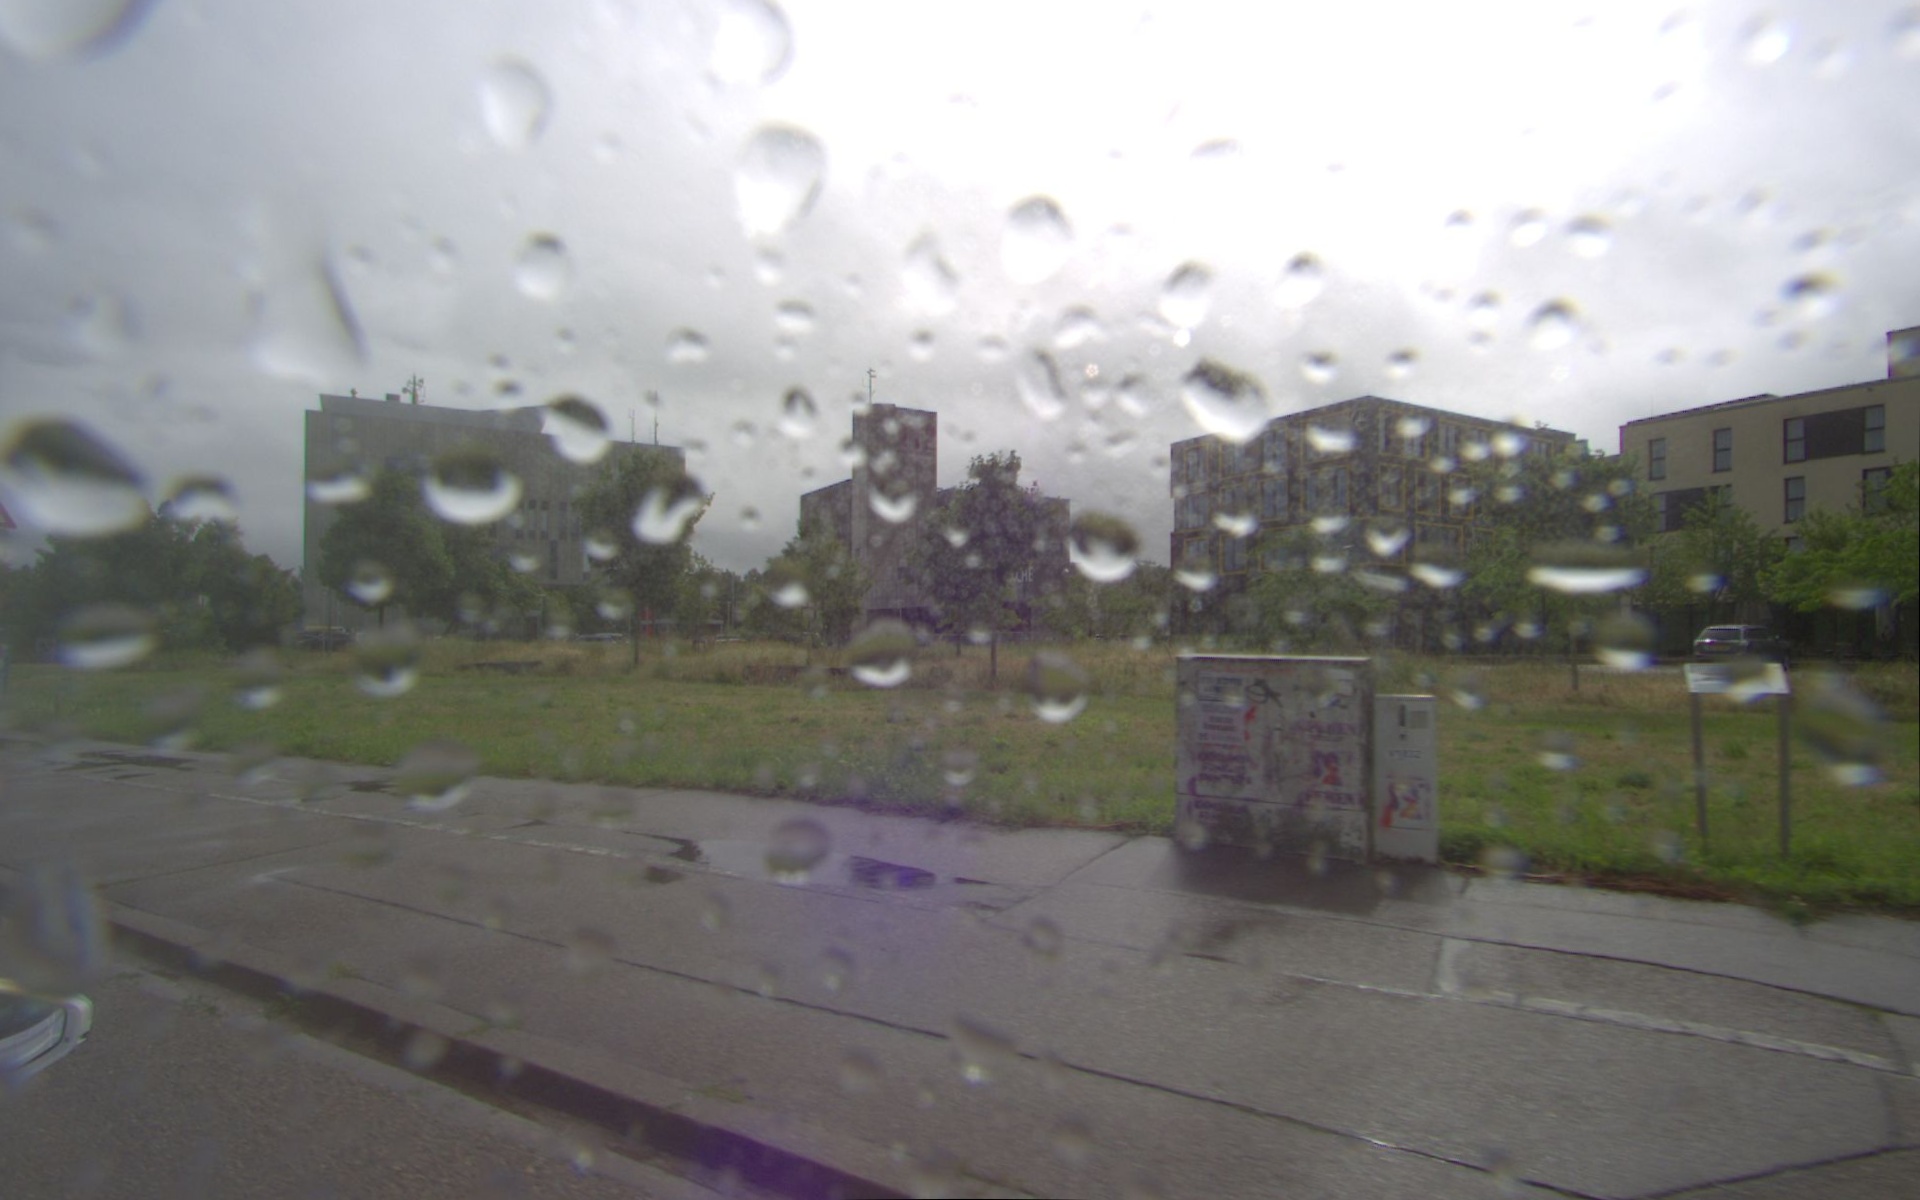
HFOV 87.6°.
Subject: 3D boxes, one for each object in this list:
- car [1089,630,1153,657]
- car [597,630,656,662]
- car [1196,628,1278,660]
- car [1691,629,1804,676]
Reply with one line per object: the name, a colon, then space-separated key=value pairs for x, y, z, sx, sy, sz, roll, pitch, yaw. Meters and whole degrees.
car: x=10.719 y=2.905 z=66.571 sx=3.940 sy=1.742 sz=1.762 roll=1 pitch=-2 yaw=-27
car: x=-22.019 y=3.039 z=66.108 sx=3.647 sy=2.039 sz=1.996 roll=1 pitch=-2 yaw=-21
car: x=16.014 y=2.533 z=57.846 sx=4.490 sy=1.784 sz=1.991 roll=1 pitch=-2 yaw=-28
car: x=28.433 y=1.866 z=36.121 sx=4.155 sy=1.577 sz=1.660 roll=0 pitch=-1 yaw=-28
